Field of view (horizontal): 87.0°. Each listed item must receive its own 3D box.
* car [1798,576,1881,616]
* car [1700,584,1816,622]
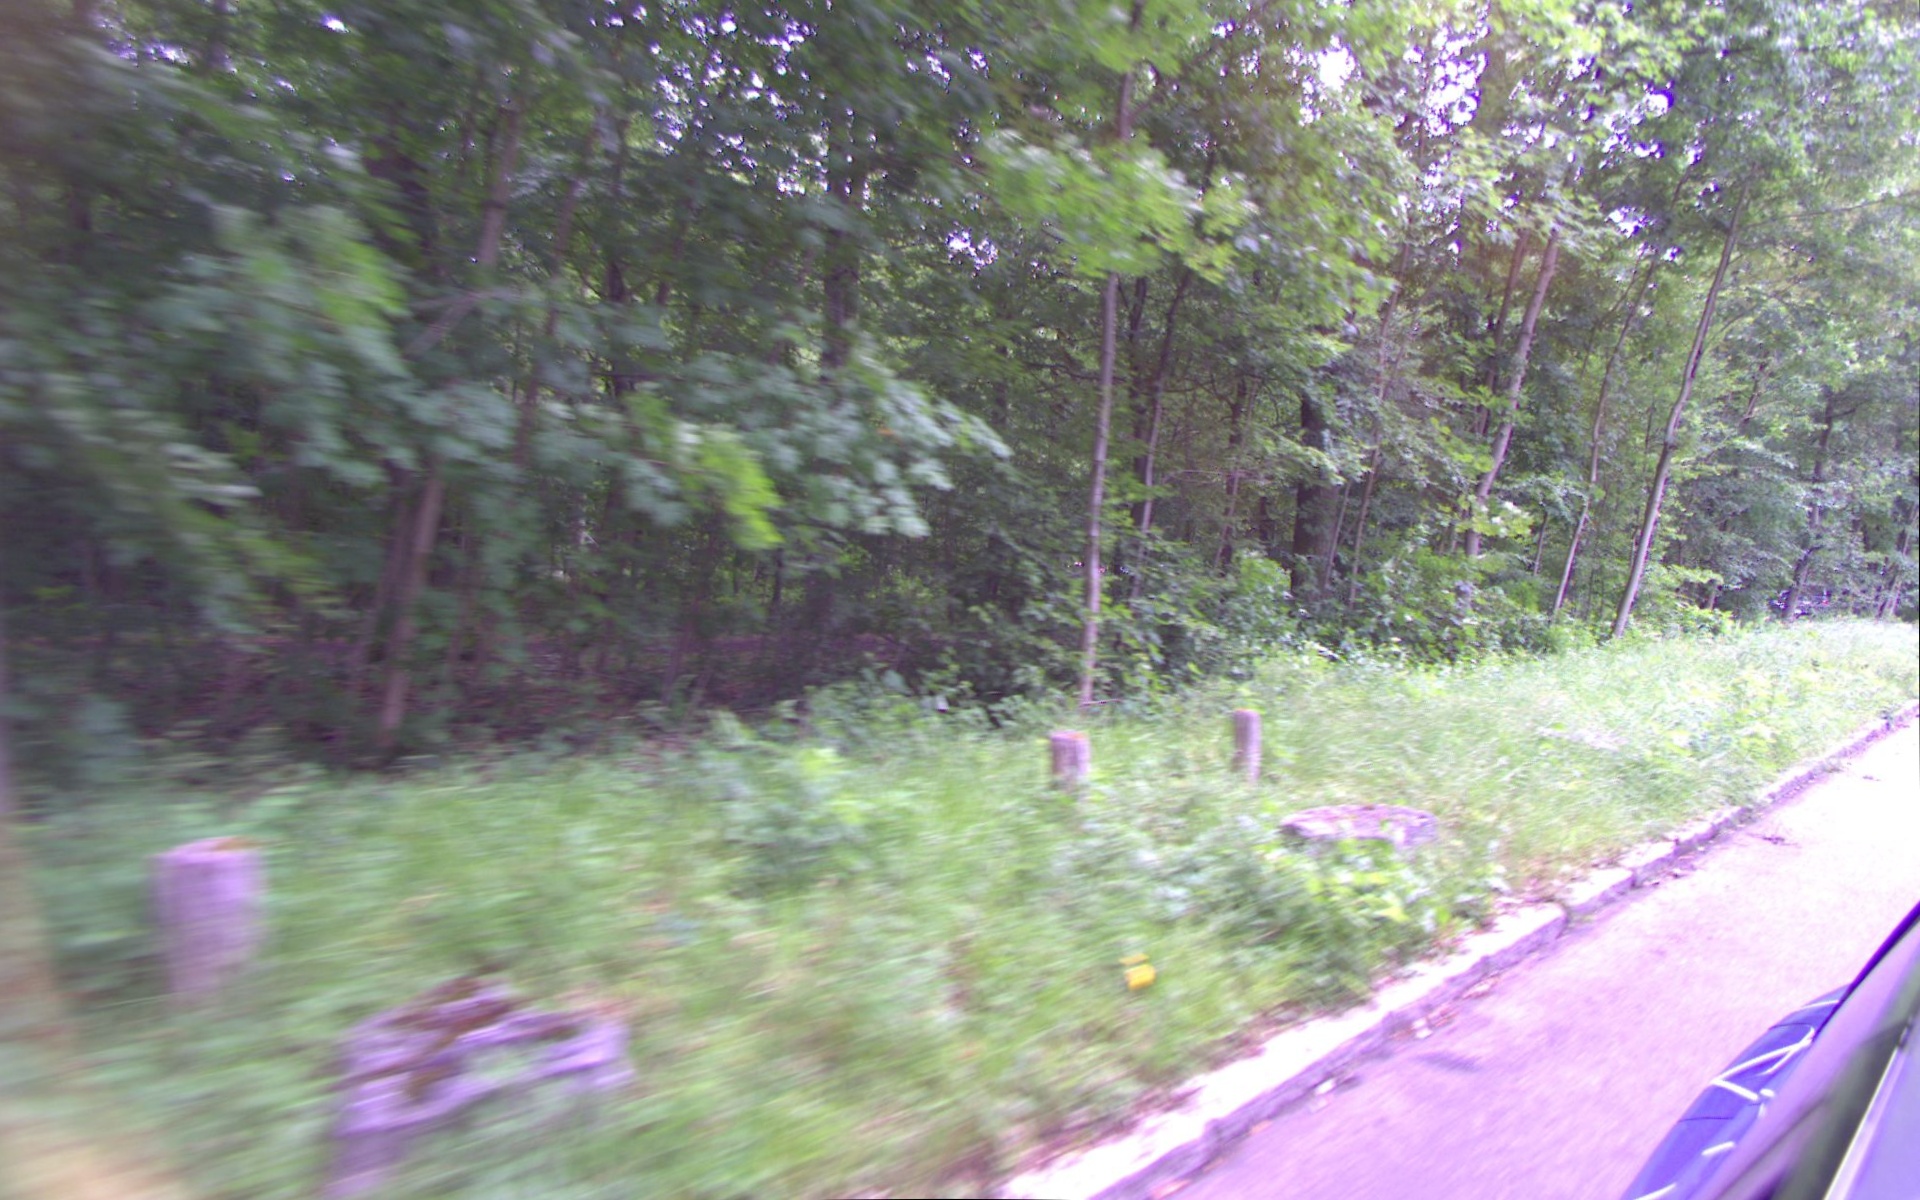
[{"bbox_3d":[47.548,-0.199,54.712,4.425,2.002,1.894,1,2,-29],"label":"car"},{"bbox_3d":[39.662,0.106,50.406,1.779,1.653,4.106,0,3,-30],"label":"car"}]
